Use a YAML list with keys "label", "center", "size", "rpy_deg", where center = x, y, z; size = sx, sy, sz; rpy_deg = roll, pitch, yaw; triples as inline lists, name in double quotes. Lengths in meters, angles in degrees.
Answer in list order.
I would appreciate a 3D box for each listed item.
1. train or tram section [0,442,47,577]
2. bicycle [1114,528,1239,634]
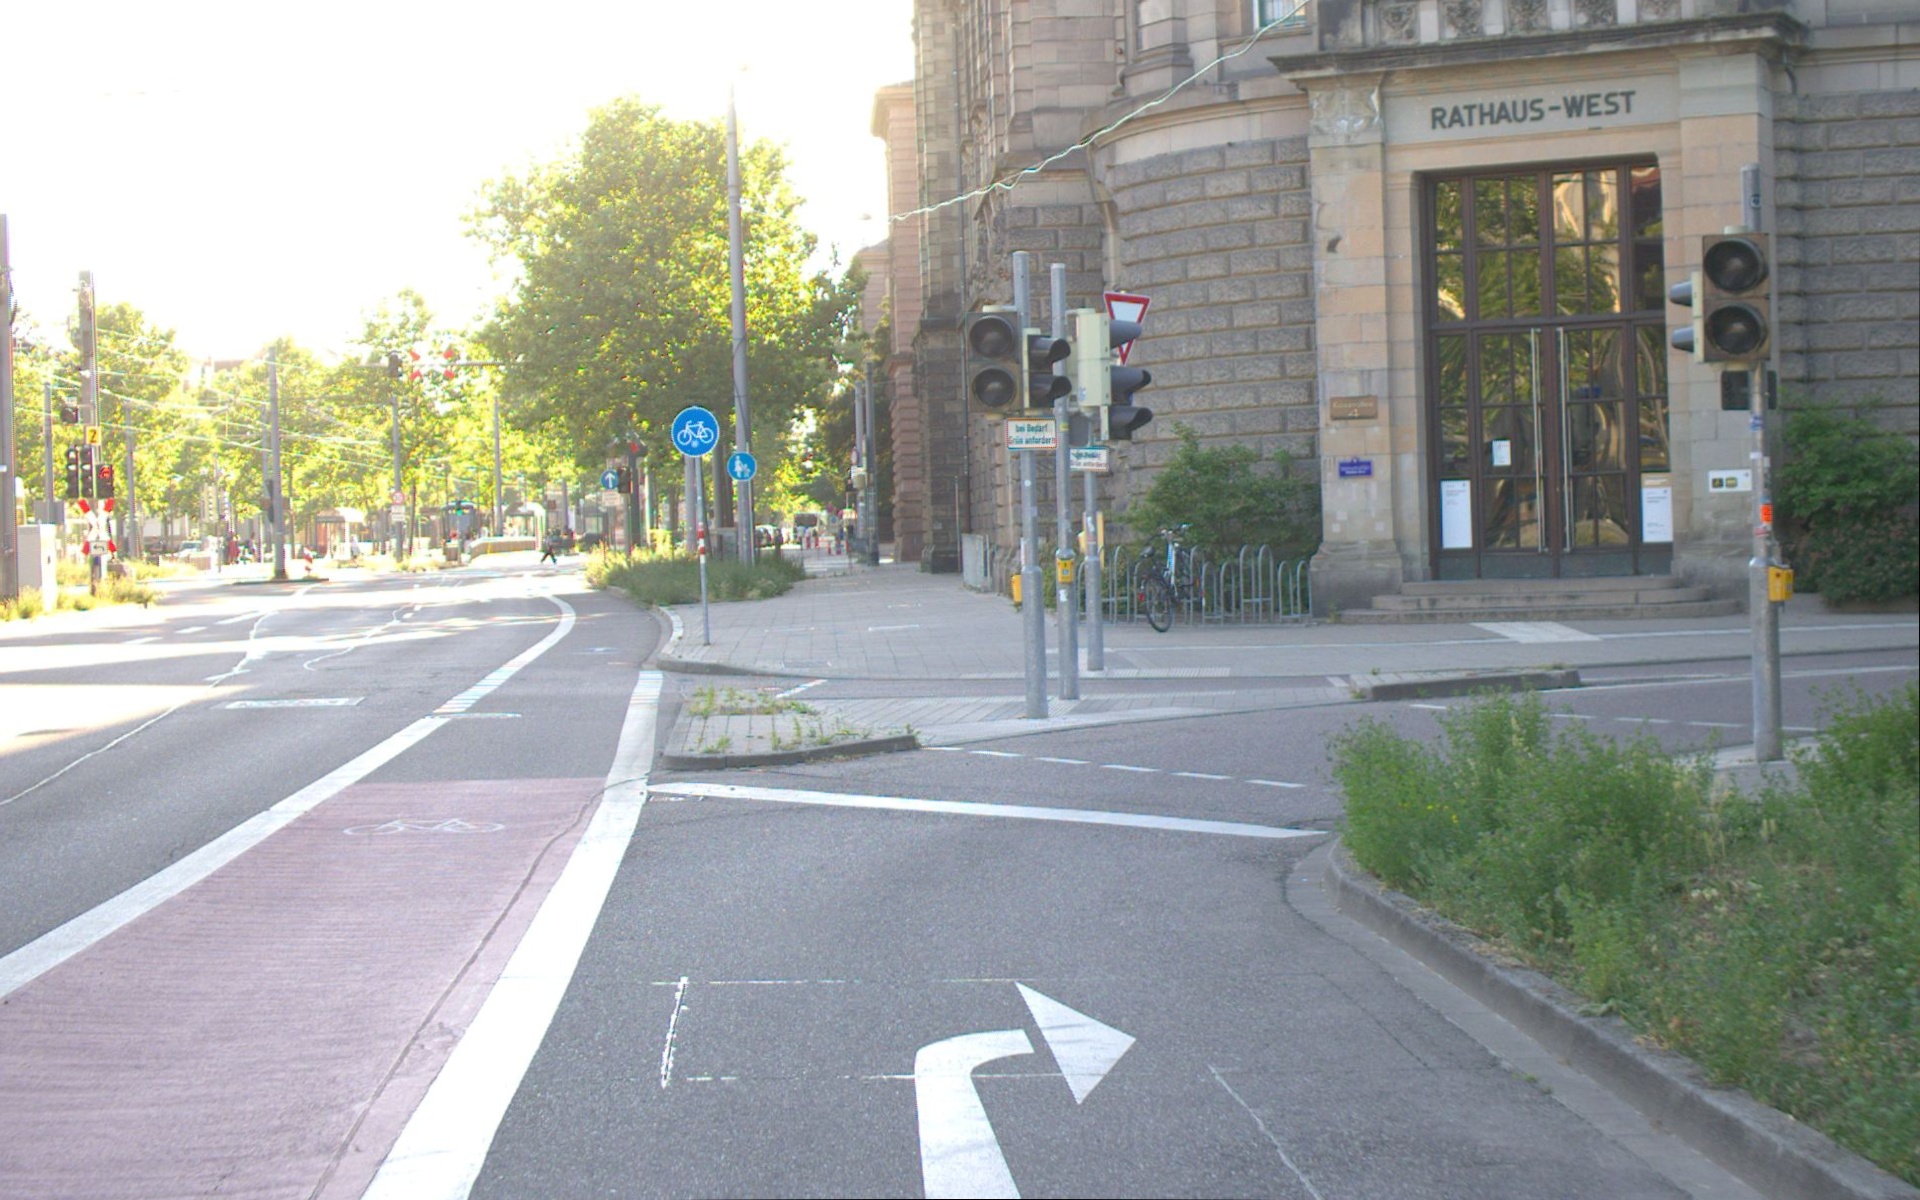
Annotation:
- label: "train or tram section"
  center: [-26.400, -2.259, 86.951]
  size: [3.111, 3.547, 19.937]
  rpy_deg: [-2, 1, -6]
- label: "bicycle"
  center: [2.636, -0.242, 41.613]
  size: [0.867, 1.192, 2.237]
  rpy_deg: [-2, 1, 20]
